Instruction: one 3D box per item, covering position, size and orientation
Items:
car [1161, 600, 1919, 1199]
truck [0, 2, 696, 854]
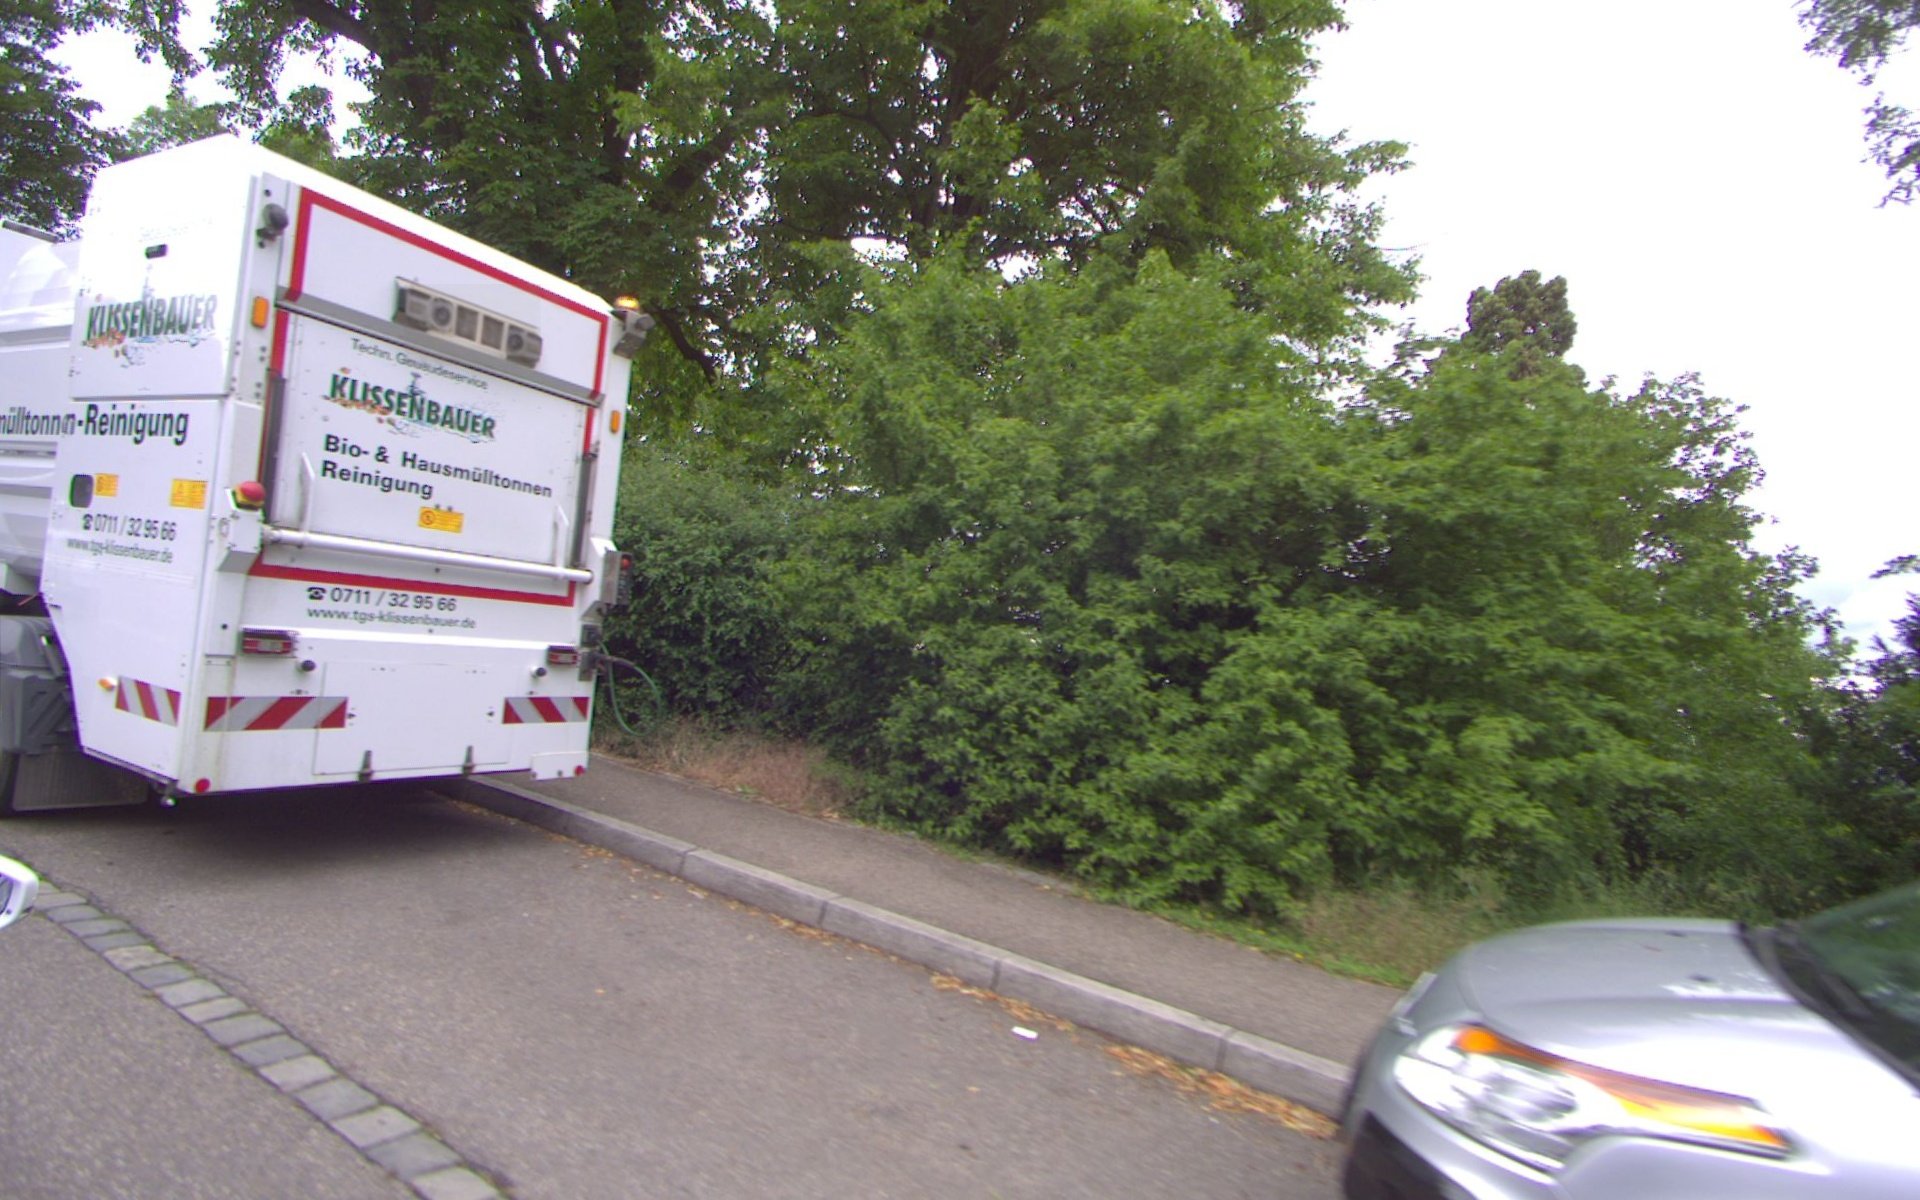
[{"bbox_3d":[2.540,1.038,1.608,3.935,1.542,1.806,6,-2,32],"label":"car"},{"bbox_3d":[-5.414,-0.876,6.627,7.106,3.219,2.487,6,-1,30],"label":"truck"}]
